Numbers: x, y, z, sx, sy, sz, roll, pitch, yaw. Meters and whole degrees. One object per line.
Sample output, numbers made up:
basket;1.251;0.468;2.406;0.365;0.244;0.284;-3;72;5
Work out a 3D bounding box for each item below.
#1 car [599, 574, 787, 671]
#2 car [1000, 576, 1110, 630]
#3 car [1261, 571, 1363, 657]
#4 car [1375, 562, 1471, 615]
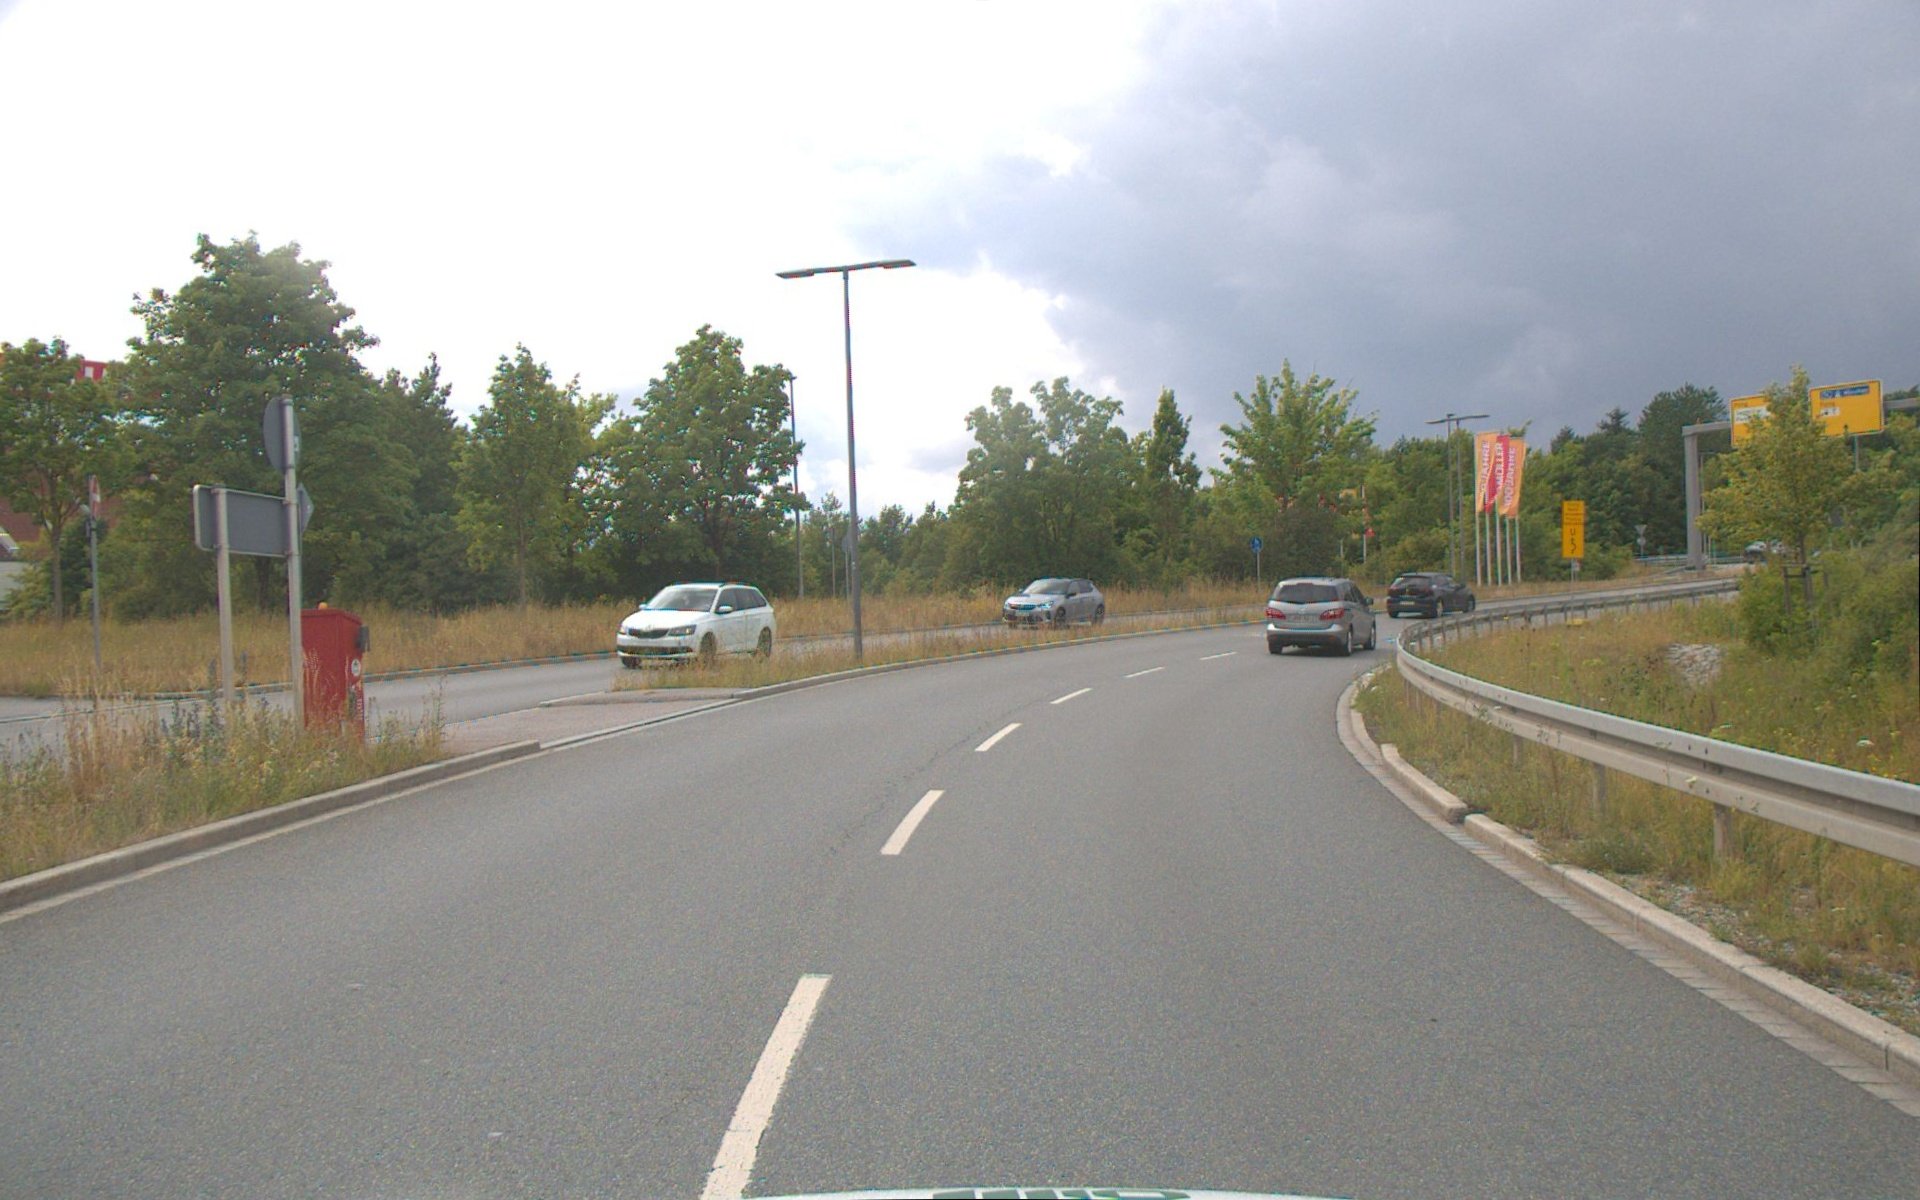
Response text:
car;-4.830;0.378;30.536;1.679;1.663;4.269;-1;0;18
car;2.797;0.076;48.122;1.432;1.512;4.086;-1;0;32
car;7.690;0.358;35.913;1.730;1.645;3.922;-3;-4;17
car;15.077;-0.367;53.746;1.838;1.633;3.720;-1;0;36
